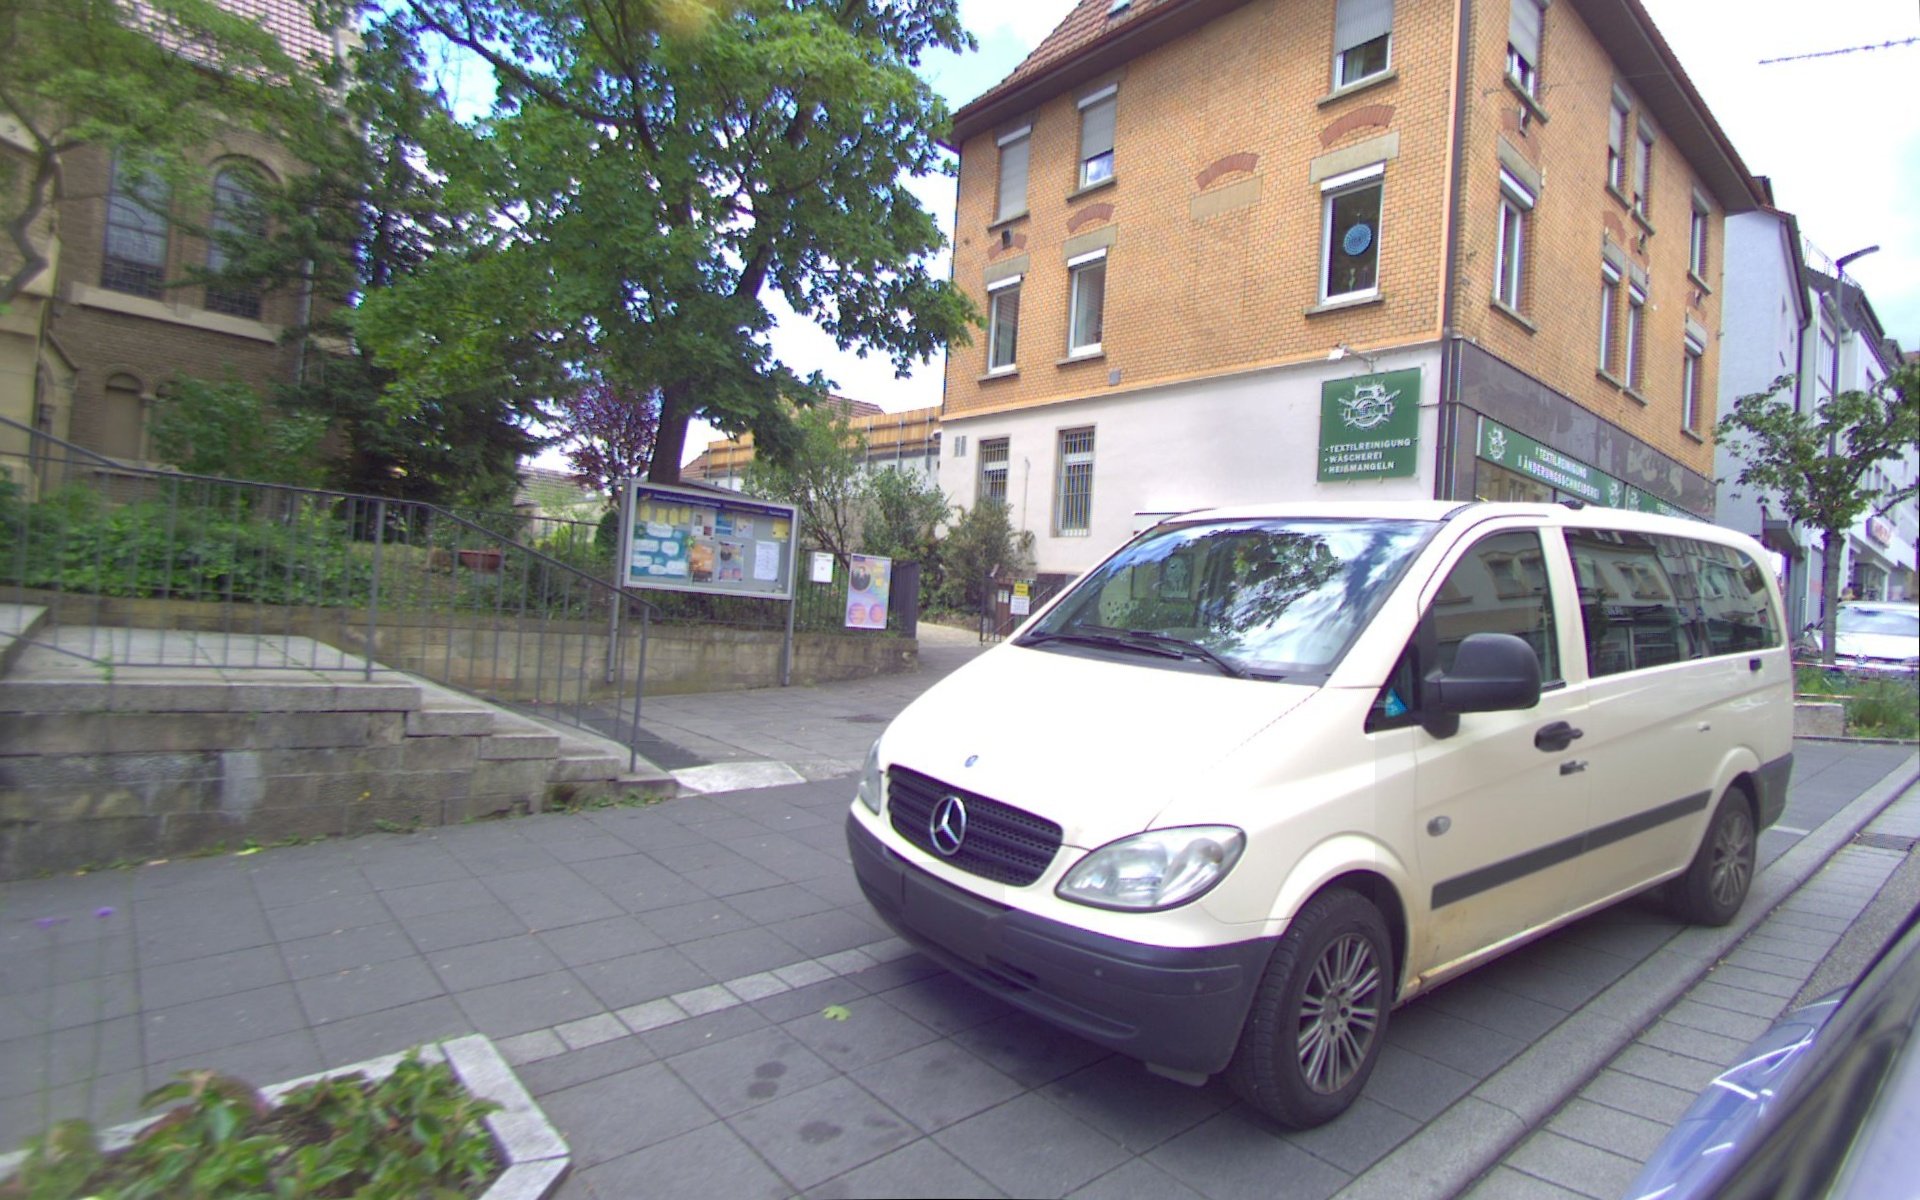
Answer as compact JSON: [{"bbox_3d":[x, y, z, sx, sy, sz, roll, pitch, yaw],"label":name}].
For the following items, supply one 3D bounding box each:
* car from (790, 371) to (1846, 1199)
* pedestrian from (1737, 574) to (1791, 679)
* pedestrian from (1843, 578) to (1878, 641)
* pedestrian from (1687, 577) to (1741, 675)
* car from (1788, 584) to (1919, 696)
[{"bbox_3d":[1.925,0.391,4.487,4.935,1.870,1.892,0,2,-36],"label":"car"},{"bbox_3d":[12.927,0.403,16.288,0.564,1.622,0.519,4,3,36],"label":"pedestrian"},{"bbox_3d":[23.034,0.225,25.887,0.565,1.558,0.518,5,4,43],"label":"pedestrian"},{"bbox_3d":[12.362,0.402,16.585,0.555,1.539,0.583,5,4,44],"label":"pedestrian"},{"bbox_3d":[14.467,0.552,15.706,3.877,1.465,1.815,0,4,-41],"label":"car"}]
